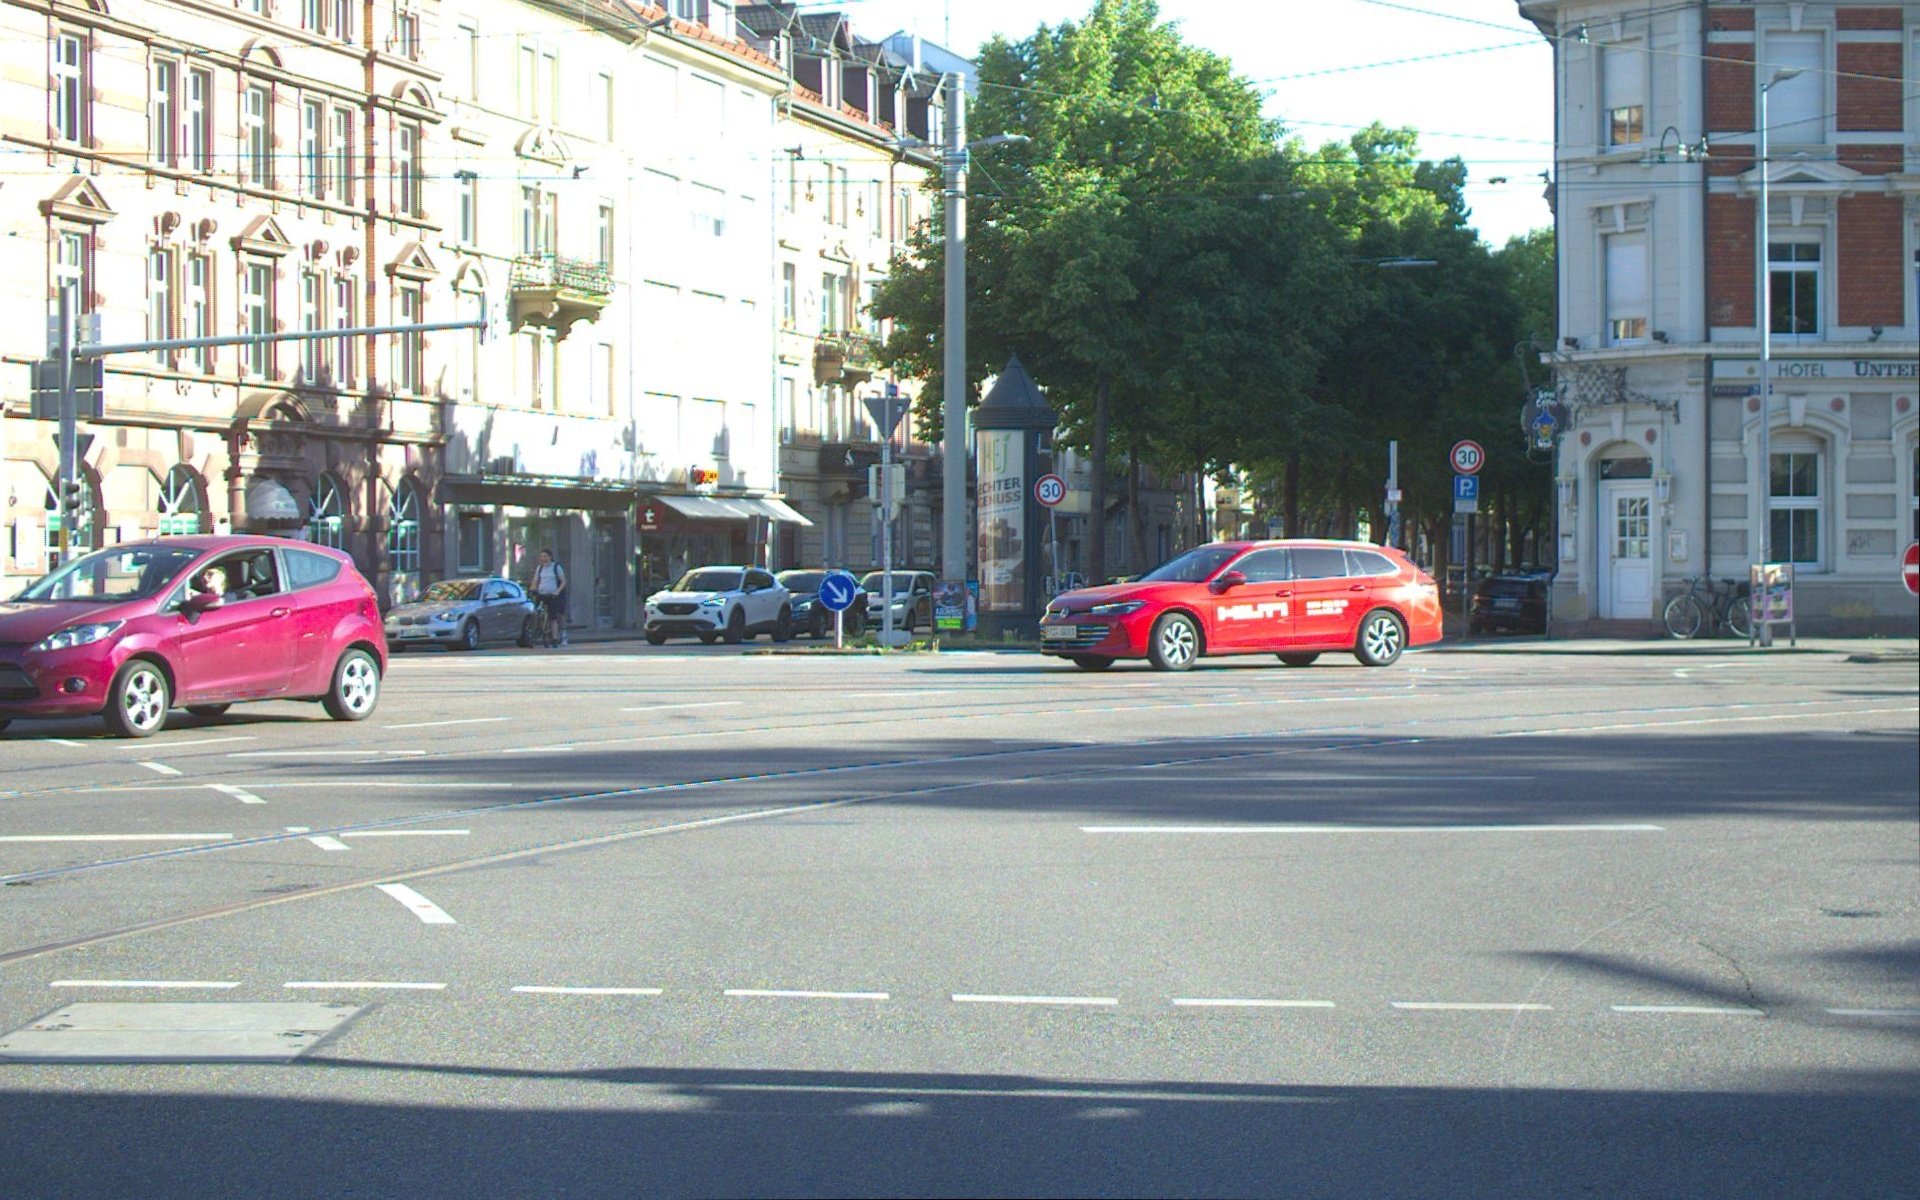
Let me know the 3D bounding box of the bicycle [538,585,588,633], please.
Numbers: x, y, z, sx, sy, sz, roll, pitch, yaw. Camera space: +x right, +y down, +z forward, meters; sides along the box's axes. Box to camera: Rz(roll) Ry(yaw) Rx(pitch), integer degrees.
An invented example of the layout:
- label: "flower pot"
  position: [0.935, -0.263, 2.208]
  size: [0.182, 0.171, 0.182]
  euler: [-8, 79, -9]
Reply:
- label: "bicycle"
  position: [-7.785, 0.164, 67.481]
  size: [0.473, 0.919, 1.451]
  euler: [1, 1, 14]

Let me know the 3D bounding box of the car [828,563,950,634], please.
- label: "car"
  position: [-1.617, -0.049, 79.751]
  size: [1.804, 1.570, 3.888]
  euler: [1, 1, 15]

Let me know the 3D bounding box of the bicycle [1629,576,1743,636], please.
- label: "bicycle"
  position: [12.068, 0.097, 57.141]
  size: [1.804, 0.959, 0.603]
  euler: [1, 0, 14]

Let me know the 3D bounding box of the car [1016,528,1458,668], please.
- label: "car"
  position: [3.185, -0.067, 39.222]
  size: [4.858, 1.464, 1.804]
  euler: [-1, 2, -30]

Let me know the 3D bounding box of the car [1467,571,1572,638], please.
- label: "car"
  position: [13.434, 0.098, 82.416]
  size: [1.758, 1.550, 3.996]
  euler: [1, 1, 20]

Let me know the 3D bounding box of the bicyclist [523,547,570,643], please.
- label: "bicyclist"
  position: [-7.837, -0.094, 65.171]
  size: [0.565, 1.797, 0.913]
  euler: [1, 0, 15]

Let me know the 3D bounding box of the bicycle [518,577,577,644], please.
- label: "bicycle"
  position: [-7.817, 0.186, 65.229]
  size: [0.565, 1.250, 1.556]
  euler: [1, 1, 14]

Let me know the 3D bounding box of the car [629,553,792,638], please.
- label: "car"
  position: [-4.839, -0.096, 67.298]
  size: [1.804, 1.579, 4.156]
  euler: [1, 1, 17]

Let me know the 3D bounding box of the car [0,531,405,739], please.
- label: "car"
  position: [-6.032, 0.200, 25.961]
  size: [1.593, 1.421, 3.876]
  euler: [1, 2, 29]

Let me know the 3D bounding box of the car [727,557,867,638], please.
- label: "car"
  position: [-3.463, -0.068, 73.637]
  size: [1.826, 1.679, 3.872]
  euler: [1, 1, 16]

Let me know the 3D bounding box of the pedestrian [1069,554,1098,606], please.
- label: "pedestrian"
  position: [4.275, -0.697, 118.686]
  size: [0.709, 1.784, 0.697]
  euler: [1, 0, -36]

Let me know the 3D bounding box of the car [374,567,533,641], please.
- label: "car"
  position: [-9.820, 0.064, 66.943]
  size: [1.661, 1.369, 3.889]
  euler: [1, 1, 15]

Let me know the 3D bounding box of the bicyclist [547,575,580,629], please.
- label: "bicyclist"
  position: [-7.784, 0.038, 67.490]
  size: [0.473, 1.036, 0.537]
  euler: [1, 0, 15]
